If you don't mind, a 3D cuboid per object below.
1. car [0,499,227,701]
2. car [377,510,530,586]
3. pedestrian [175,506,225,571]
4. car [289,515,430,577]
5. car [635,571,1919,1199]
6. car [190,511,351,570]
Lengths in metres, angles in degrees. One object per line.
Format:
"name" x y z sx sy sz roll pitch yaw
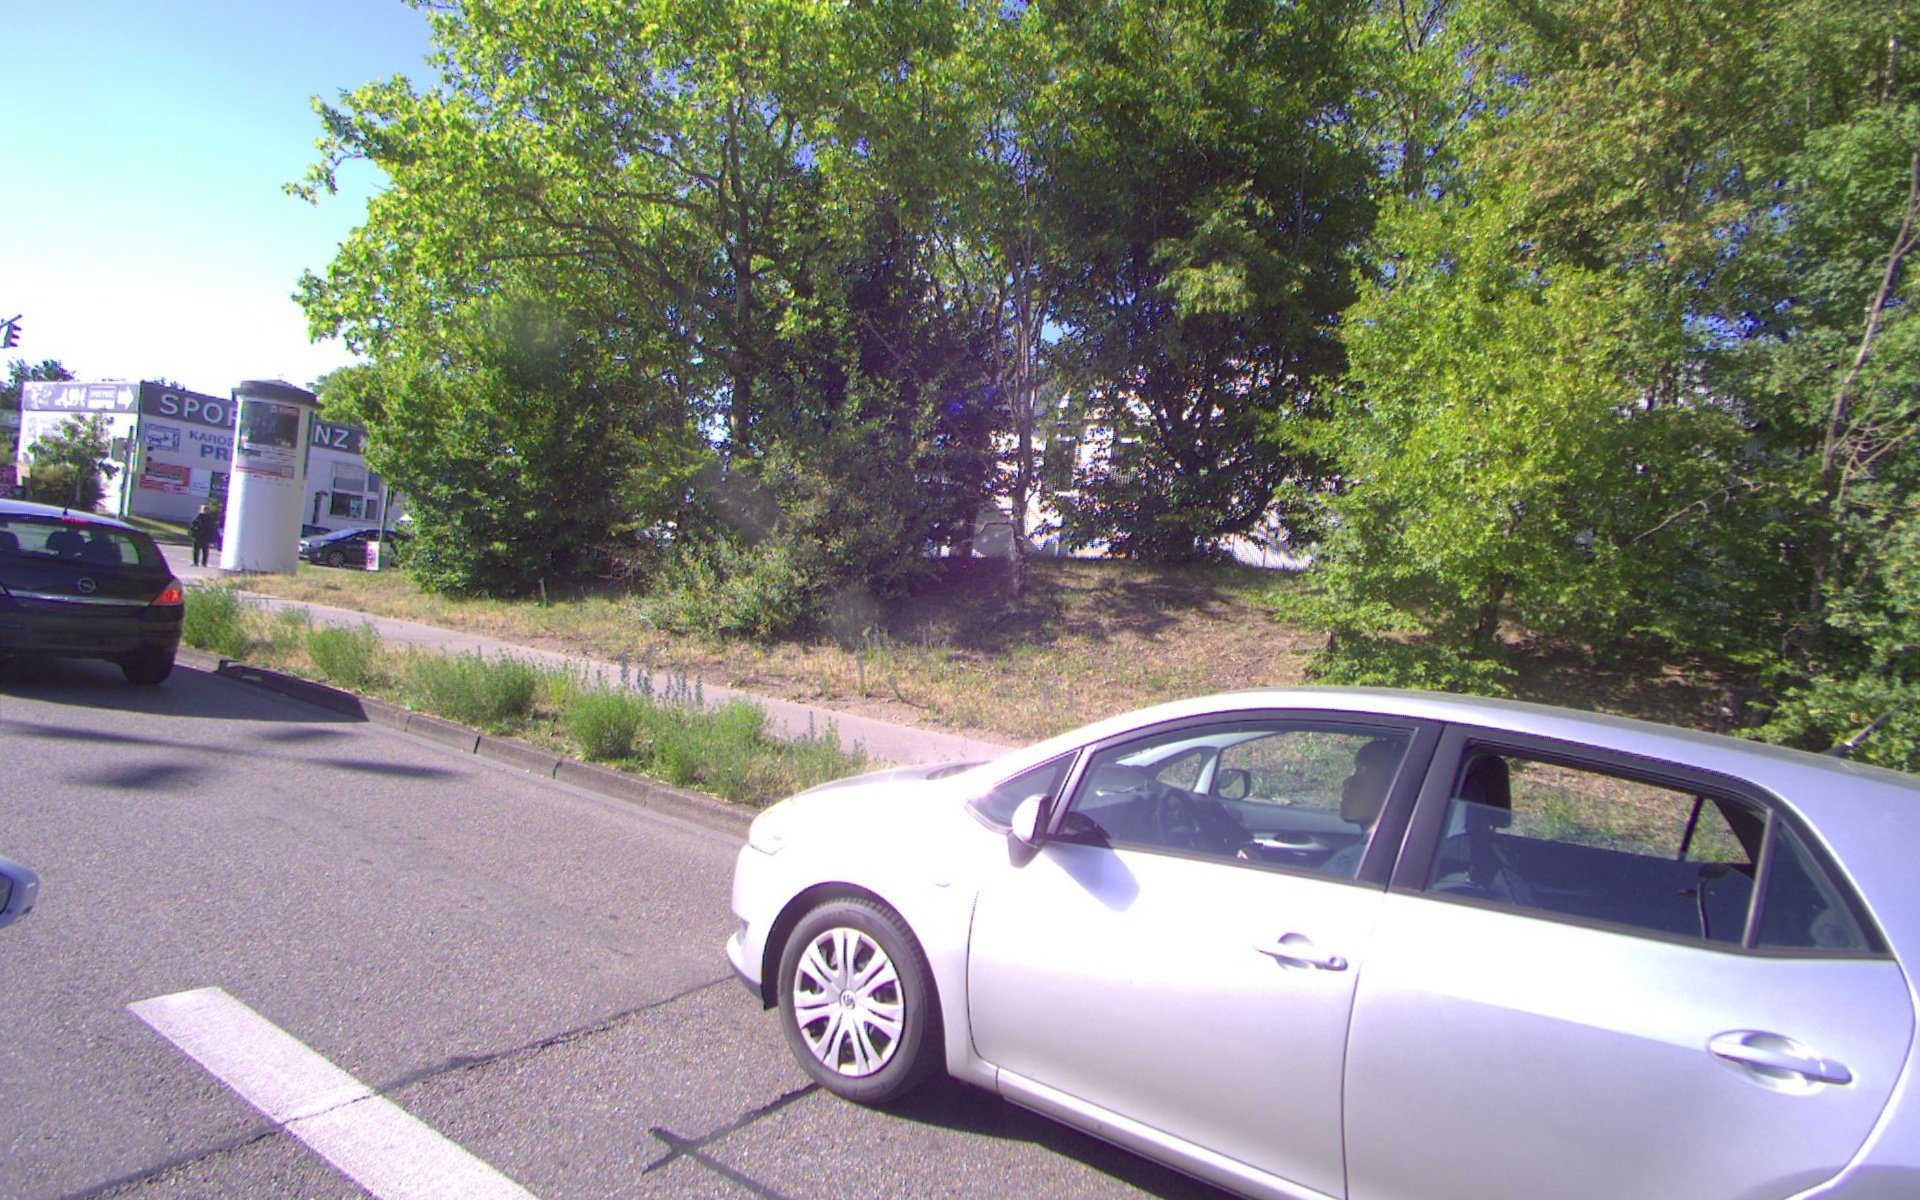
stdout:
"car" -8.592 -0.161 8.941 4.299 1.458 1.737 7 -2 32
"car" -22.848 -2.305 45.669 1.967 2.706 5.840 6 0 32
"pedestrian" -21.246 -1.714 28.128 0.506 1.688 0.818 6 -1 31
"car" -23.070 -2.023 38.809 1.611 1.668 4.316 6 -2 31
"car" 1.113 0.970 3.264 4.039 1.555 1.787 7 -2 32
"car" -26.880 -2.266 39.415 1.729 1.484 4.831 6 -2 30
